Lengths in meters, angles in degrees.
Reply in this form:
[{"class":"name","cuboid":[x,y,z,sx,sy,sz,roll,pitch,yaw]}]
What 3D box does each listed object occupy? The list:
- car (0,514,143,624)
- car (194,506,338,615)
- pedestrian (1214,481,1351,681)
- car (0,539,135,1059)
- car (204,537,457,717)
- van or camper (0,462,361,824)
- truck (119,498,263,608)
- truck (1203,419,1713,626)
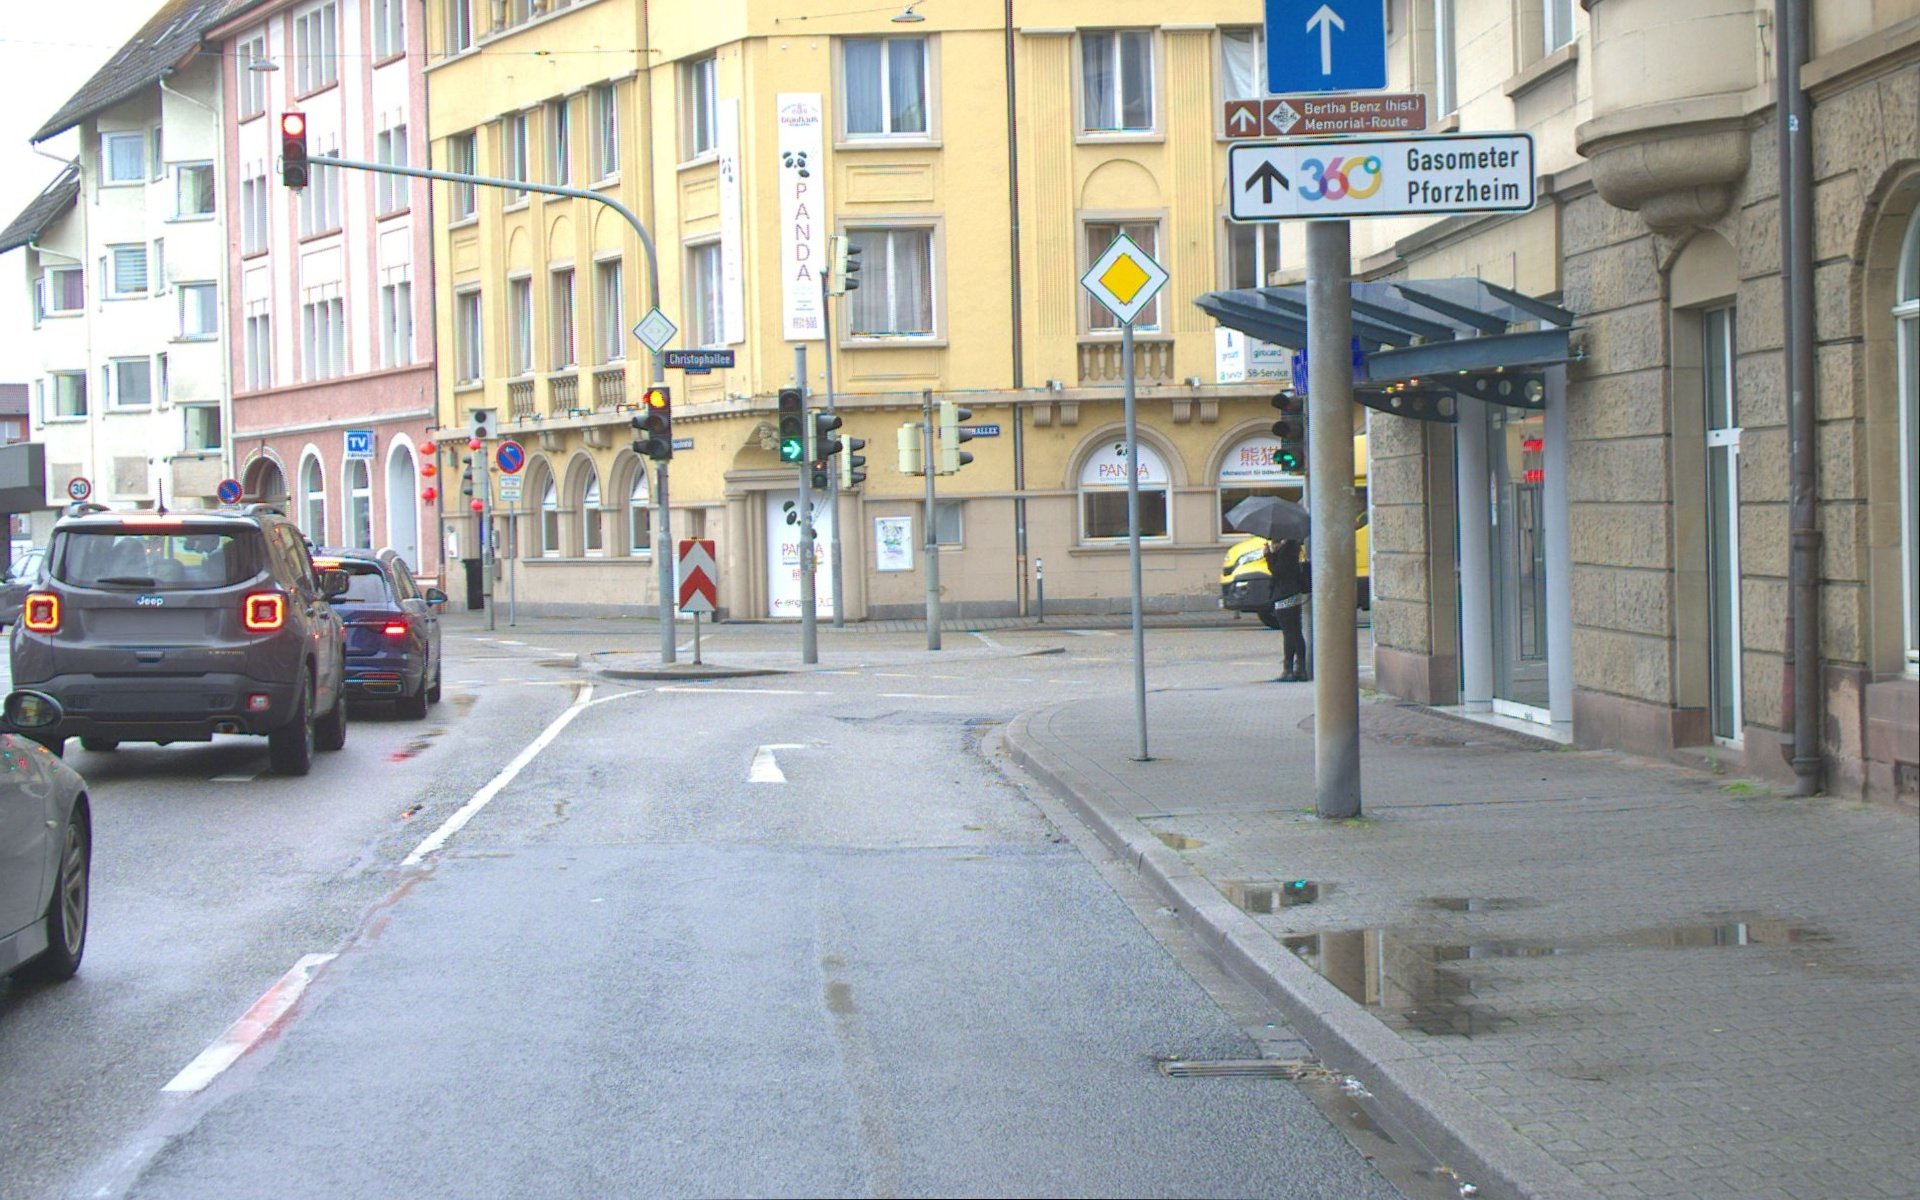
[{"class":"car","cuboid":[-15.836,-0.543,59.827,1.993,1.809,4.000,-2,1,-31]},{"class":"car","cuboid":[-14.406,-0.841,71.247,1.761,2.172,4.001,1,1,-29]},{"class":"pedestrian","cuboid":[3.136,-0.196,33.337,1.058,1.897,1.024,0,2,21]},{"class":"car","cuboid":[-3.653,0.579,9.861,1.799,1.459,4.372,1,2,-4]},{"class":"car","cuboid":[-5.309,0.177,29.490,1.802,1.401,4.685,0,1,-6]},{"class":"van or camper","cuboid":[-5.034,0.215,22.660,1.854,2.139,4.143,-1,1,-6]},{"class":"truck","cuboid":[-17.128,-1.077,76.477,2.026,2.381,4.237,-1,2,-29]},{"class":"truck","cuboid":[7.244,-1.134,50.409,7.090,2.841,2.083,-1,1,-3]}]
